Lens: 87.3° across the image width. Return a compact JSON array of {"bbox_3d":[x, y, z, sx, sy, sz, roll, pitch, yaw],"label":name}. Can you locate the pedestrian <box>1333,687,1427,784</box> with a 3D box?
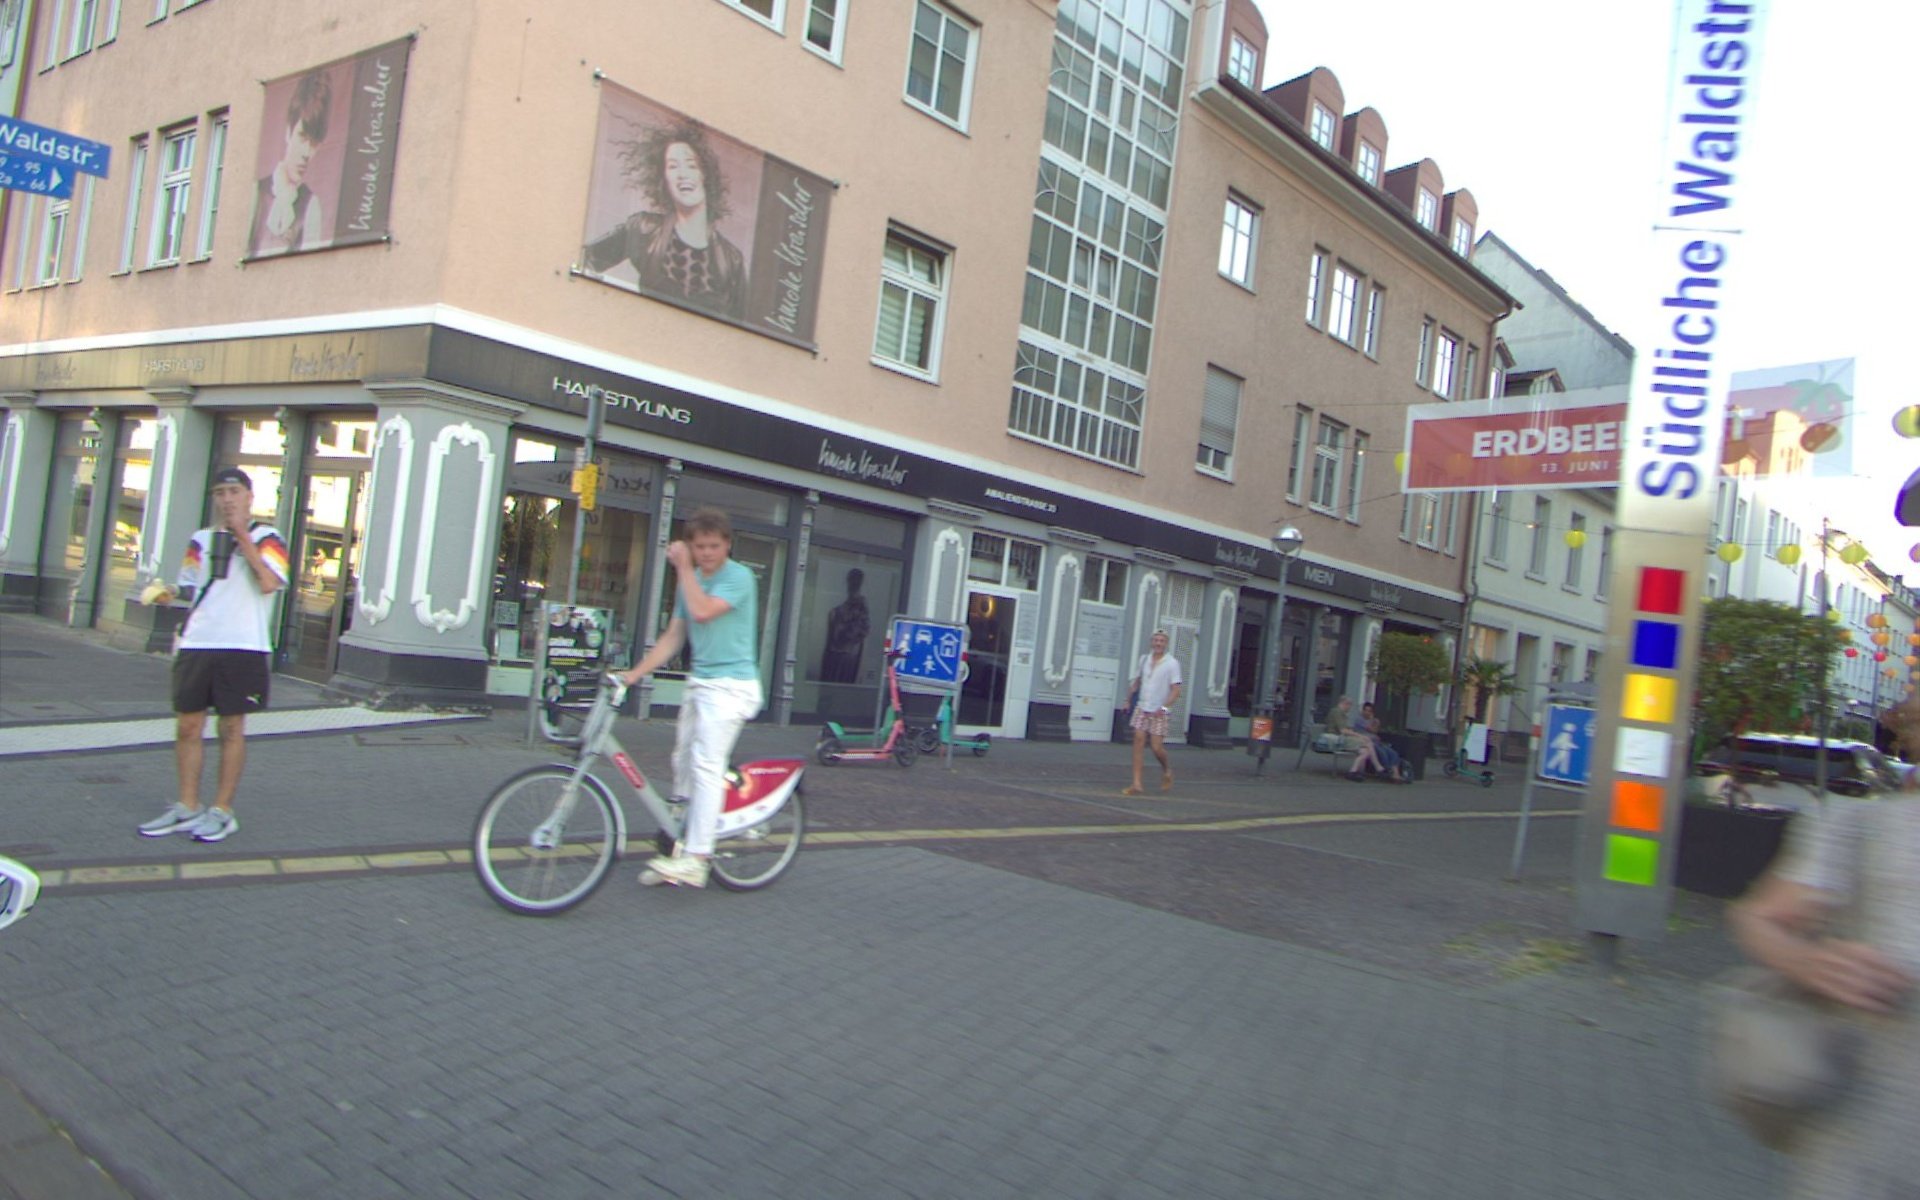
[{"bbox_3d":[7.260,2.321,17.377,1.209,1.428,0.890,8,-1,32],"label":"pedestrian"}]

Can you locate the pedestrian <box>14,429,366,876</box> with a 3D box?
[{"bbox_3d":[-3.727,0.253,4.983,0.811,1.920,0.941,7,-1,-2],"label":"pedestrian"}]

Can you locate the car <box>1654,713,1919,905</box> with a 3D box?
[{"bbox_3d":[9.835,2.341,11.728,3.961,1.610,1.815,9,-2,-40],"label":"car"}]

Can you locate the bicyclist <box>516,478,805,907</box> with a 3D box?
[{"bbox_3d":[-1.443,0.407,4.888,0.818,1.847,0.833,6,-1,38],"label":"bicyclist"}]

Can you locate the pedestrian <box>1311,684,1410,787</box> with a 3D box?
[{"bbox_3d":[6.560,2.204,16.481,1.209,1.428,0.890,8,-1,32],"label":"pedestrian"}]

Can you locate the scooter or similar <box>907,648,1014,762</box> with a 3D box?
[{"bbox_3d":[0.018,1.297,12.348,1.193,1.275,0.360,8,-1,-35],"label":"scooter or similar"}]

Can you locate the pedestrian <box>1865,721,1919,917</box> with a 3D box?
[{"bbox_3d":[8.807,1.999,9.122,0.745,1.688,0.730,6,-2,42],"label":"pedestrian"}]

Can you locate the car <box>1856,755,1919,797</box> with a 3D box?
[{"bbox_3d":[43.991,8.332,47.634,3.626,1.603,1.615,9,-3,-38],"label":"car"}]

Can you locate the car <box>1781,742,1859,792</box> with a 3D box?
[{"bbox_3d":[34.508,6.704,40.340,3.626,1.603,1.615,9,-3,-38],"label":"car"}]

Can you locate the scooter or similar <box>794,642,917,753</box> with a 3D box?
[{"bbox_3d":[-1.205,1.149,11.753,1.293,1.156,0.360,8,-1,-33],"label":"scooter or similar"}]

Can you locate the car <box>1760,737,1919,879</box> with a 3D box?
[{"bbox_3d":[13.889,3.092,15.148,4.410,1.603,1.925,9,-2,-40],"label":"car"}]

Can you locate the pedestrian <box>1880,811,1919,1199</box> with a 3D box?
[{"bbox_3d":[3.285,0.987,2.634,0.855,1.838,0.827,6,-1,12],"label":"pedestrian"}]

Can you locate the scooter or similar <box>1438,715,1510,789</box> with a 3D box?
[{"bbox_3d":[9.720,2.850,19.063,0.388,1.198,1.304,7,-2,-10],"label":"scooter or similar"}]

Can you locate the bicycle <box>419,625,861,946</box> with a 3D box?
[{"bbox_3d":[-1.460,0.827,4.906,0.782,1.200,1.819,6,-2,39],"label":"bicycle"}]

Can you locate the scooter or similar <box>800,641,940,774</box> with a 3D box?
[{"bbox_3d":[-0.905,1.110,10.273,1.247,1.228,0.463,8,-2,-37],"label":"scooter or similar"}]

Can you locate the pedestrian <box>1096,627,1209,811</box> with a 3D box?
[{"bbox_3d":[2.113,1.261,10.938,0.811,1.796,1.101,6,-1,23],"label":"pedestrian"}]

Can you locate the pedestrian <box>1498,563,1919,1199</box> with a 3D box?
[{"bbox_3d":[1.438,0.835,1.483,0.780,1.672,0.778,7,-1,-17],"label":"pedestrian"}]
